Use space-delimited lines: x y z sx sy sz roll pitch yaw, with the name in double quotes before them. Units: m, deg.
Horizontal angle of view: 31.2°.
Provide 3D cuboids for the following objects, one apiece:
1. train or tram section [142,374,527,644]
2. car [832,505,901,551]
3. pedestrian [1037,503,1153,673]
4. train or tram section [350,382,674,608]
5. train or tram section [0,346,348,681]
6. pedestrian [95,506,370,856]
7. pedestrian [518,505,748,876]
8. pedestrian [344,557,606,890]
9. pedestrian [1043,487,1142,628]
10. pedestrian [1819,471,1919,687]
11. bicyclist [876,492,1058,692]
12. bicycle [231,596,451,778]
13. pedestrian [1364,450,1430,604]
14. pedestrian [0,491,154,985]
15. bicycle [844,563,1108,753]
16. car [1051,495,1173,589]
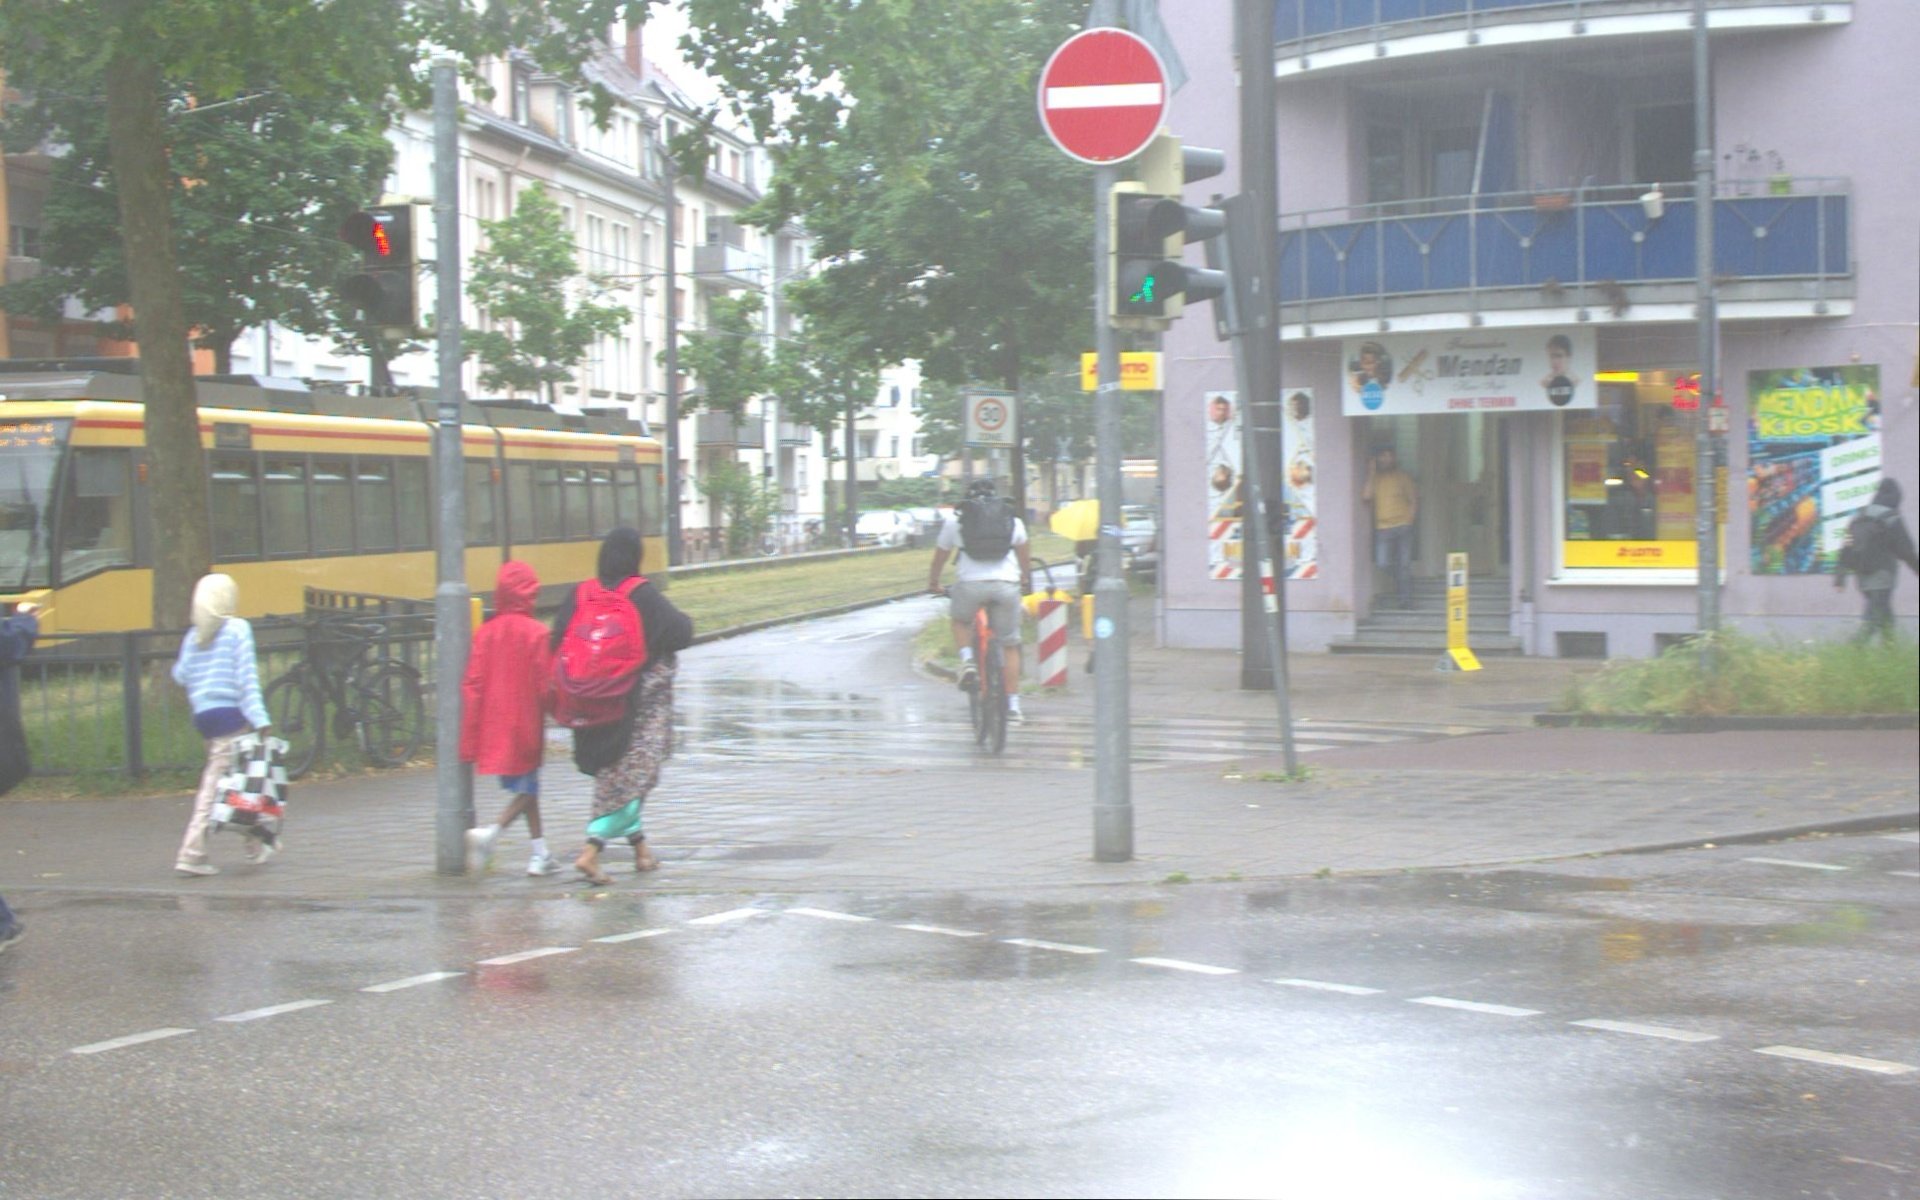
"train or tram section" -8.331 -1.245 46.987 2.638 3.339 8.374 0 2 8
"car" -3.170 -2.470 117.034 1.994 1.527 4.000 0 2 4
"pedestrian" 1.275 -0.118 32.232 0.992 1.554 0.784 -1 2 8
"train or tram section" -7.079 -1.697 56.033 2.638 3.339 9.985 0 2 8
"train or tram section" -9.574 -0.982 38.740 2.638 3.358 8.374 0 2 9
"pedestrian" -3.287 0.344 15.623 0.876 1.520 1.064 -1 2 8
"pedestrian" -1.408 0.371 14.880 0.691 1.542 0.761 0 2 21
"pedestrian" -2.119 0.517 15.117 0.672 1.377 1.009 0 3 24
"pedestrian" 1.622 -0.523 41.997 0.953 1.691 0.920 0 2 20
"pedestrian" 7.756 -0.188 29.224 0.642 1.797 0.620 1 3 42
"bicyclist" 0.044 -0.073 23.332 0.740 1.305 1.077 -3 3 -33
"bicycle" -3.934 0.535 21.957 0.445 1.073 1.616 0 2 29
"pedestrian" 4.591 -0.771 36.128 0.472 1.596 0.592 1 2 33
"pedestrian" -3.615 0.469 12.153 0.995 1.680 1.054 1 3 38
"bicycle" 0.087 0.365 23.288 0.750 1.169 2.041 -3 3 -34
"car" 2.887 -1.109 64.482 1.994 1.667 3.999 -1 2 7
